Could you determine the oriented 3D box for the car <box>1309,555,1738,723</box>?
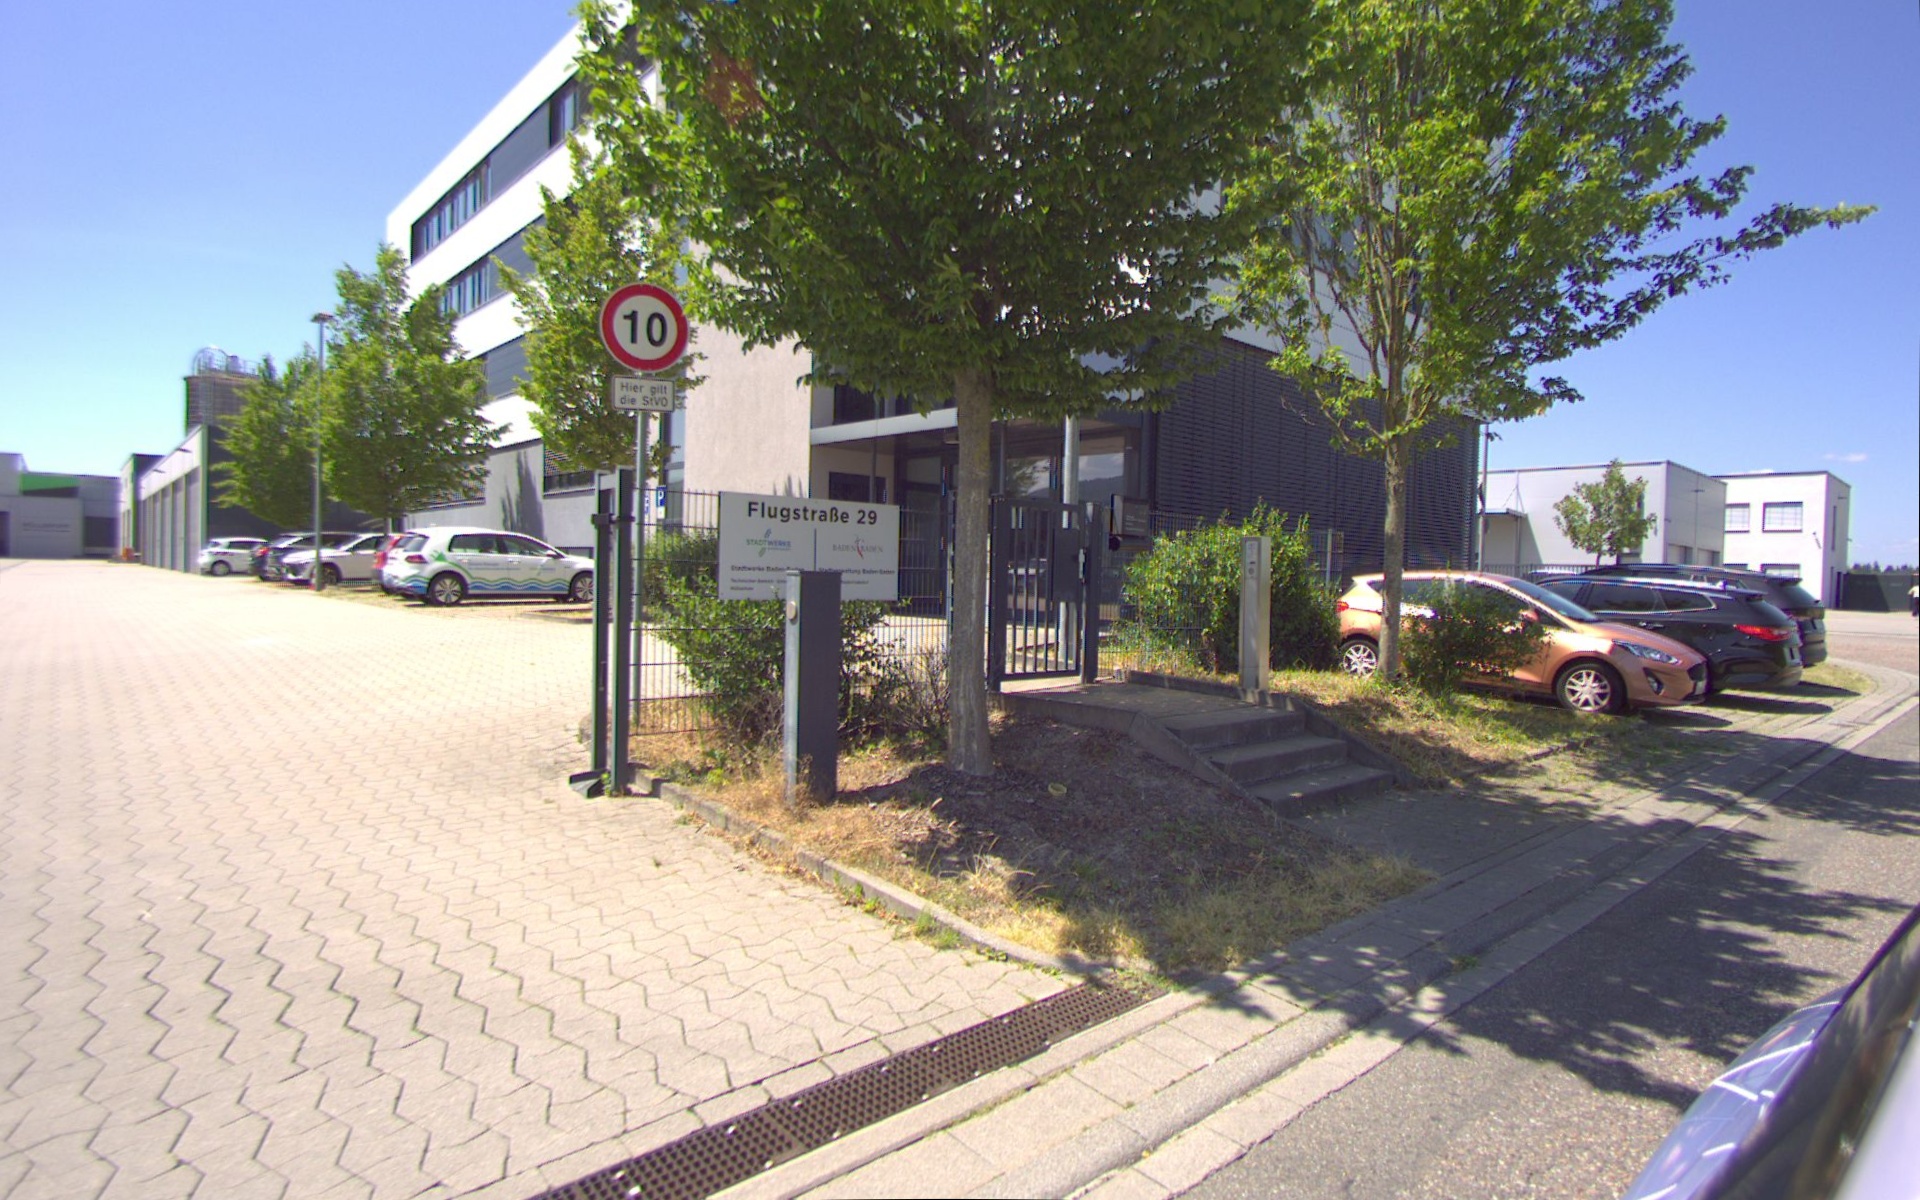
[{"bbox_3d":[6.356,0.301,11.765,1.695,1.513,3.993,0,3,-43],"label":"car"}]

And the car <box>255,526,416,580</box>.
[{"bbox_3d":[-19.216,-1.441,31.237,4.043,1.570,1.618,-2,4,-42],"label":"car"}]

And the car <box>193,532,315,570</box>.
[{"bbox_3d":[-29.082,-2.006,41.740,3.971,1.480,1.685,-2,4,-41],"label":"car"}]

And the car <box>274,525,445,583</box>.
[{"bbox_3d":[-17.366,-1.341,29.359,4.043,1.570,1.618,-2,4,-42],"label":"car"}]

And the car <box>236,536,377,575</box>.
[{"bbox_3d":[-22.551,-1.528,34.985,3.899,1.277,1.618,-2,4,-41],"label":"car"}]

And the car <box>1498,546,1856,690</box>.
[{"bbox_3d":[10.548,0.152,15.150,1.693,1.787,3.999,0,3,-38],"label":"car"}]

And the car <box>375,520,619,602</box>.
[{"bbox_3d":[-9.224,-0.798,20.333,4.148,1.478,1.810,-1,4,-39],"label":"car"}]

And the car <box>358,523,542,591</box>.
[{"bbox_3d":[-12.280,-1.040,24.462,3.718,1.513,1.619,-1,4,-39],"label":"car"}]

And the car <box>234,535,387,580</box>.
[{"bbox_3d":[-21.210,-1.407,33.147,4.043,1.374,1.618,-2,4,-42],"label":"car"}]

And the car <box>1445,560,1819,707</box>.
[{"bbox_3d":[8.600,0.309,13.177,1.752,1.513,3.718,0,4,-43],"label":"car"}]

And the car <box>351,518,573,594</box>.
[{"bbox_3d":[-11.044,-0.989,22.583,4.148,1.548,1.810,-1,4,-39],"label":"car"}]
